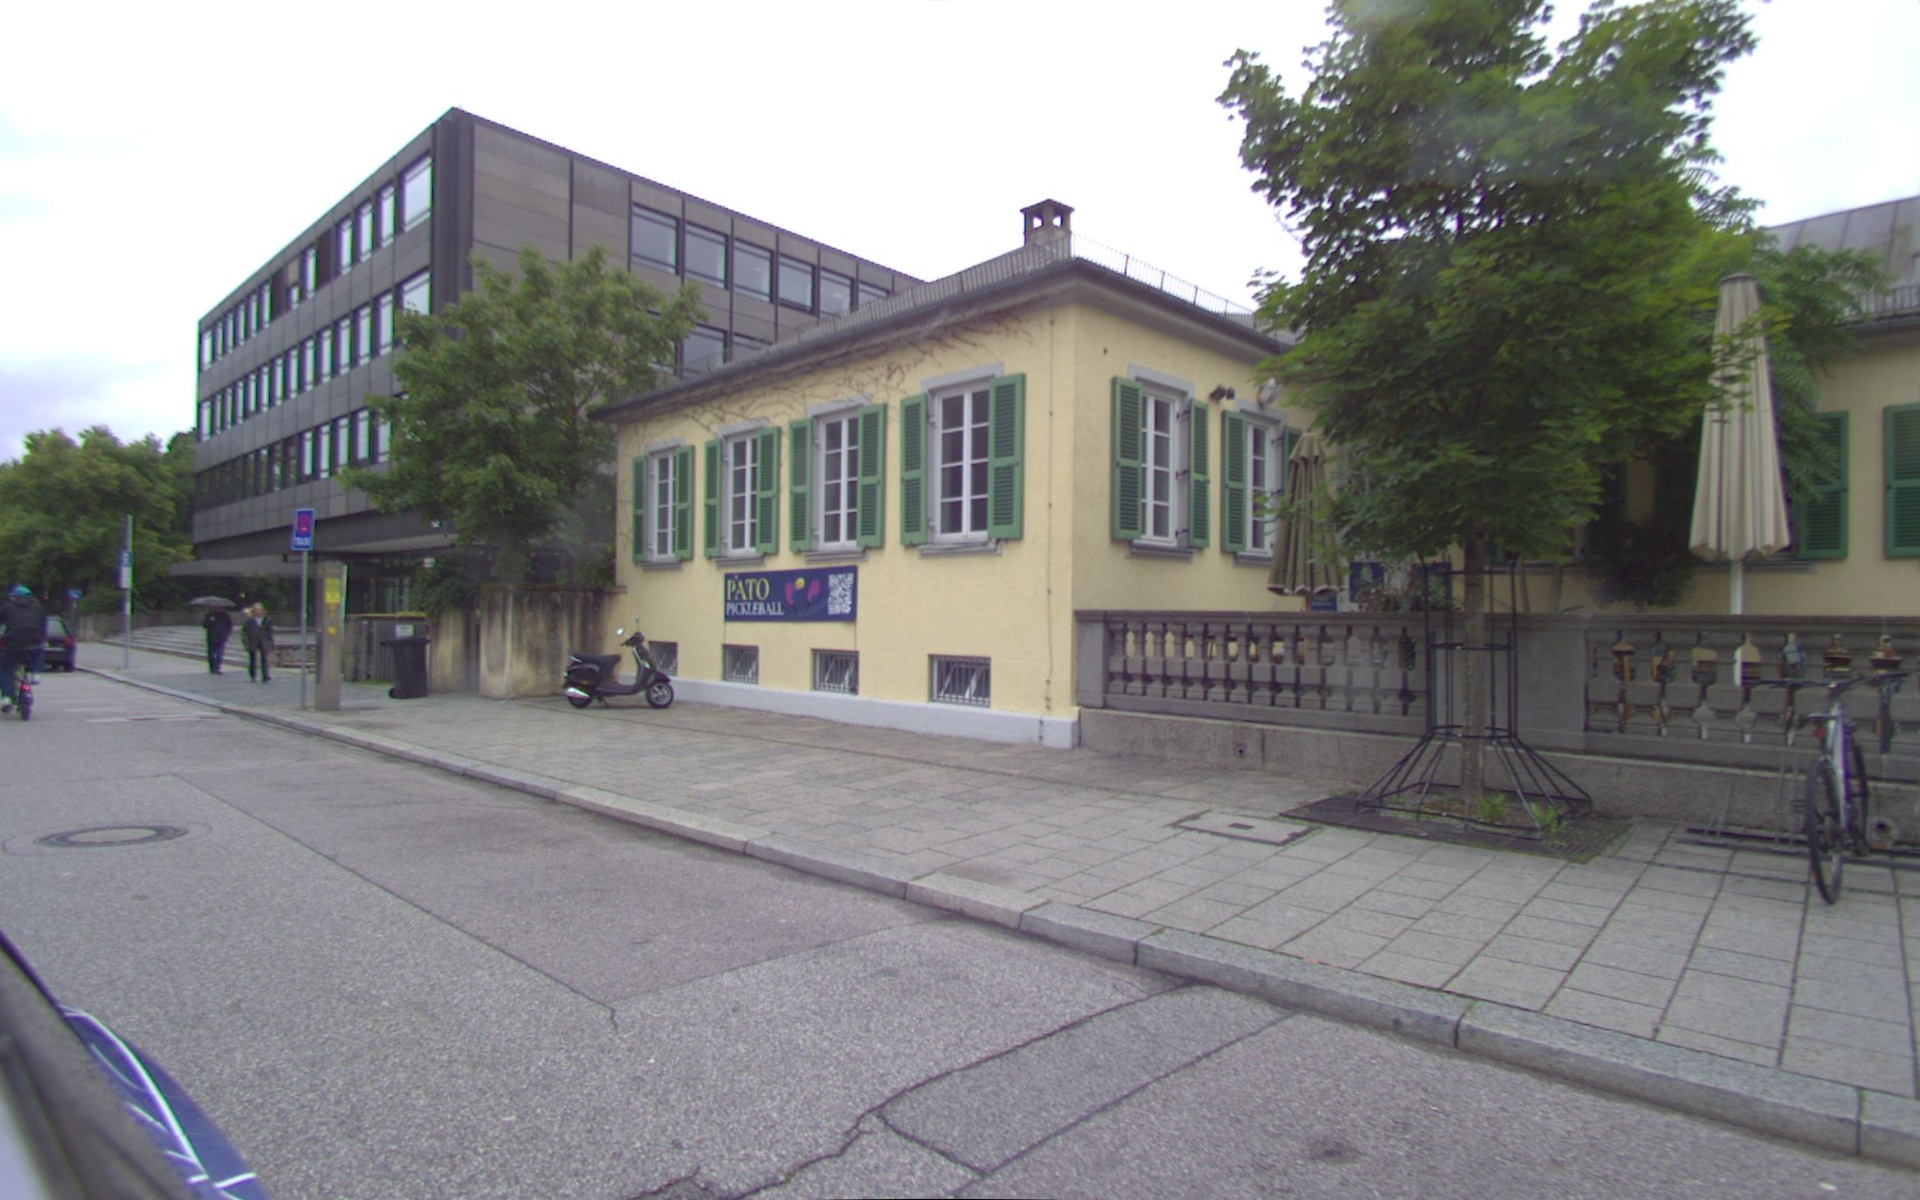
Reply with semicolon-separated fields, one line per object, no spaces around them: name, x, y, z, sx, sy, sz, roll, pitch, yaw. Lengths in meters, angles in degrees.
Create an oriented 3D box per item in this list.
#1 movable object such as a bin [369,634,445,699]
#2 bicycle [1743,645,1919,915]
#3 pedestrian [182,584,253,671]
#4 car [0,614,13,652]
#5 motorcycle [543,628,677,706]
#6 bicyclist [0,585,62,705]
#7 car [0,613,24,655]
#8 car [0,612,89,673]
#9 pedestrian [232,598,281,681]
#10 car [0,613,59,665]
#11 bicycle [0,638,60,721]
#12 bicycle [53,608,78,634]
movable object such as a bin;-9.665;1.144;17.703;0.840;1.072;0.925;-1;-2;40
bicycle;4.790;0.856;5.478;1.908;1.107;0.615;-2;1;-45
pedestrian;-18.179;0.671;24.776;1.221;2.070;1.123;-1;-2;42
car;-38.564;1.252;39.761;4.279;1.451;1.663;0;-4;43
motorcycle;-5.202;0.989;15.078;1.816;1.109;0.558;-1;0;6
bicyclist;-12.863;0.600;13.816;0.976;1.588;0.736;-1;-2;39
car;-34.933;1.172;36.269;4.238;1.472;1.720;-1;-3;44
car;-24.950;1.083;27.093;4.884;1.502;1.971;-1;-3;44
pedestrian;-15.469;0.854;22.247;0.743;1.762;0.954;-2;1;-41
car;-28.921;1.131;30.545;4.916;1.450;1.903;0;-3;41
bicycle;-13.026;1.059;13.928;2.137;1.012;0.615;-1;-1;39
bicycle;-41.803;0.966;47.295;1.526;1.173;0.636;-1;1;41
